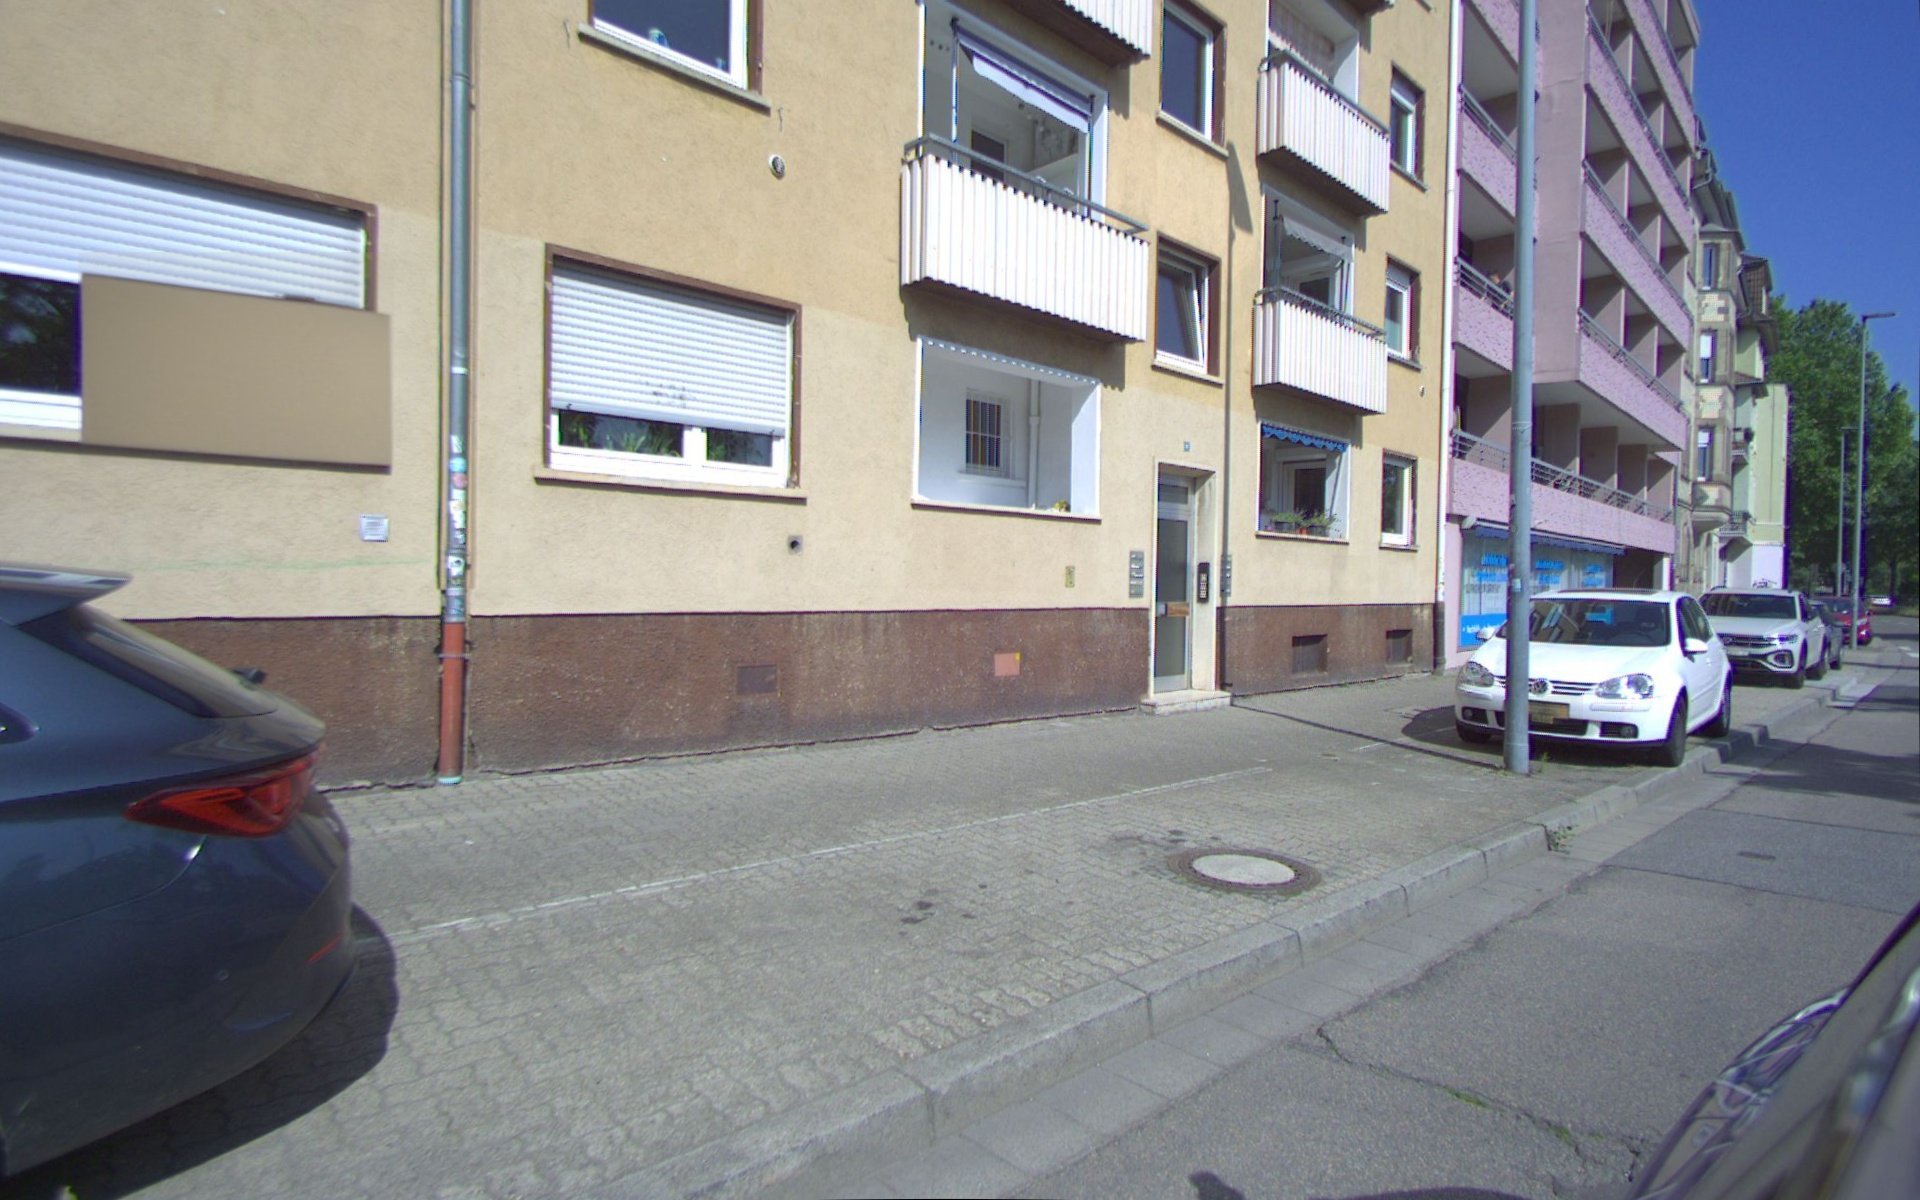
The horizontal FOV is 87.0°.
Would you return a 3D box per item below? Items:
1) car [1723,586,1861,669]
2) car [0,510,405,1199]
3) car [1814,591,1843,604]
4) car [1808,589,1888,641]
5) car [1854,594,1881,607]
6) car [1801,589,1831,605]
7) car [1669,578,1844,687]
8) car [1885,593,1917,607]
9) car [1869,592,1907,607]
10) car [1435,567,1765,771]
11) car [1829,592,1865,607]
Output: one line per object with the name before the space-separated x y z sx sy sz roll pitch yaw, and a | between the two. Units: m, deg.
car | 16.881 0.521 20.495 3.373 1.426 1.681 1 4 -43
car | -3.500 0.513 1.358 4.514 1.456 1.802 0 2 -45
car | 113.847 -0.301 132.756 1.905 1.684 4.271 1 1 27
car | 29.083 0.444 33.138 1.785 1.500 3.939 5 3 42
car | 111.362 0.014 124.233 1.666 1.487 3.541 2 2 28
car | 108.641 -0.436 128.541 1.981 1.914 3.962 2 2 27
car | 13.602 0.472 17.188 4.281 1.560 1.738 0 3 -44
car | 108.342 -0.017 116.578 1.630 1.519 3.618 2 2 25
car | 100.792 -0.090 109.985 1.852 1.470 4.167 4 3 26
car | 6.341 0.527 9.834 4.059 1.524 1.758 1 2 -44
car | 104.398 -0.089 119.140 1.782 1.538 3.937 3 3 21
